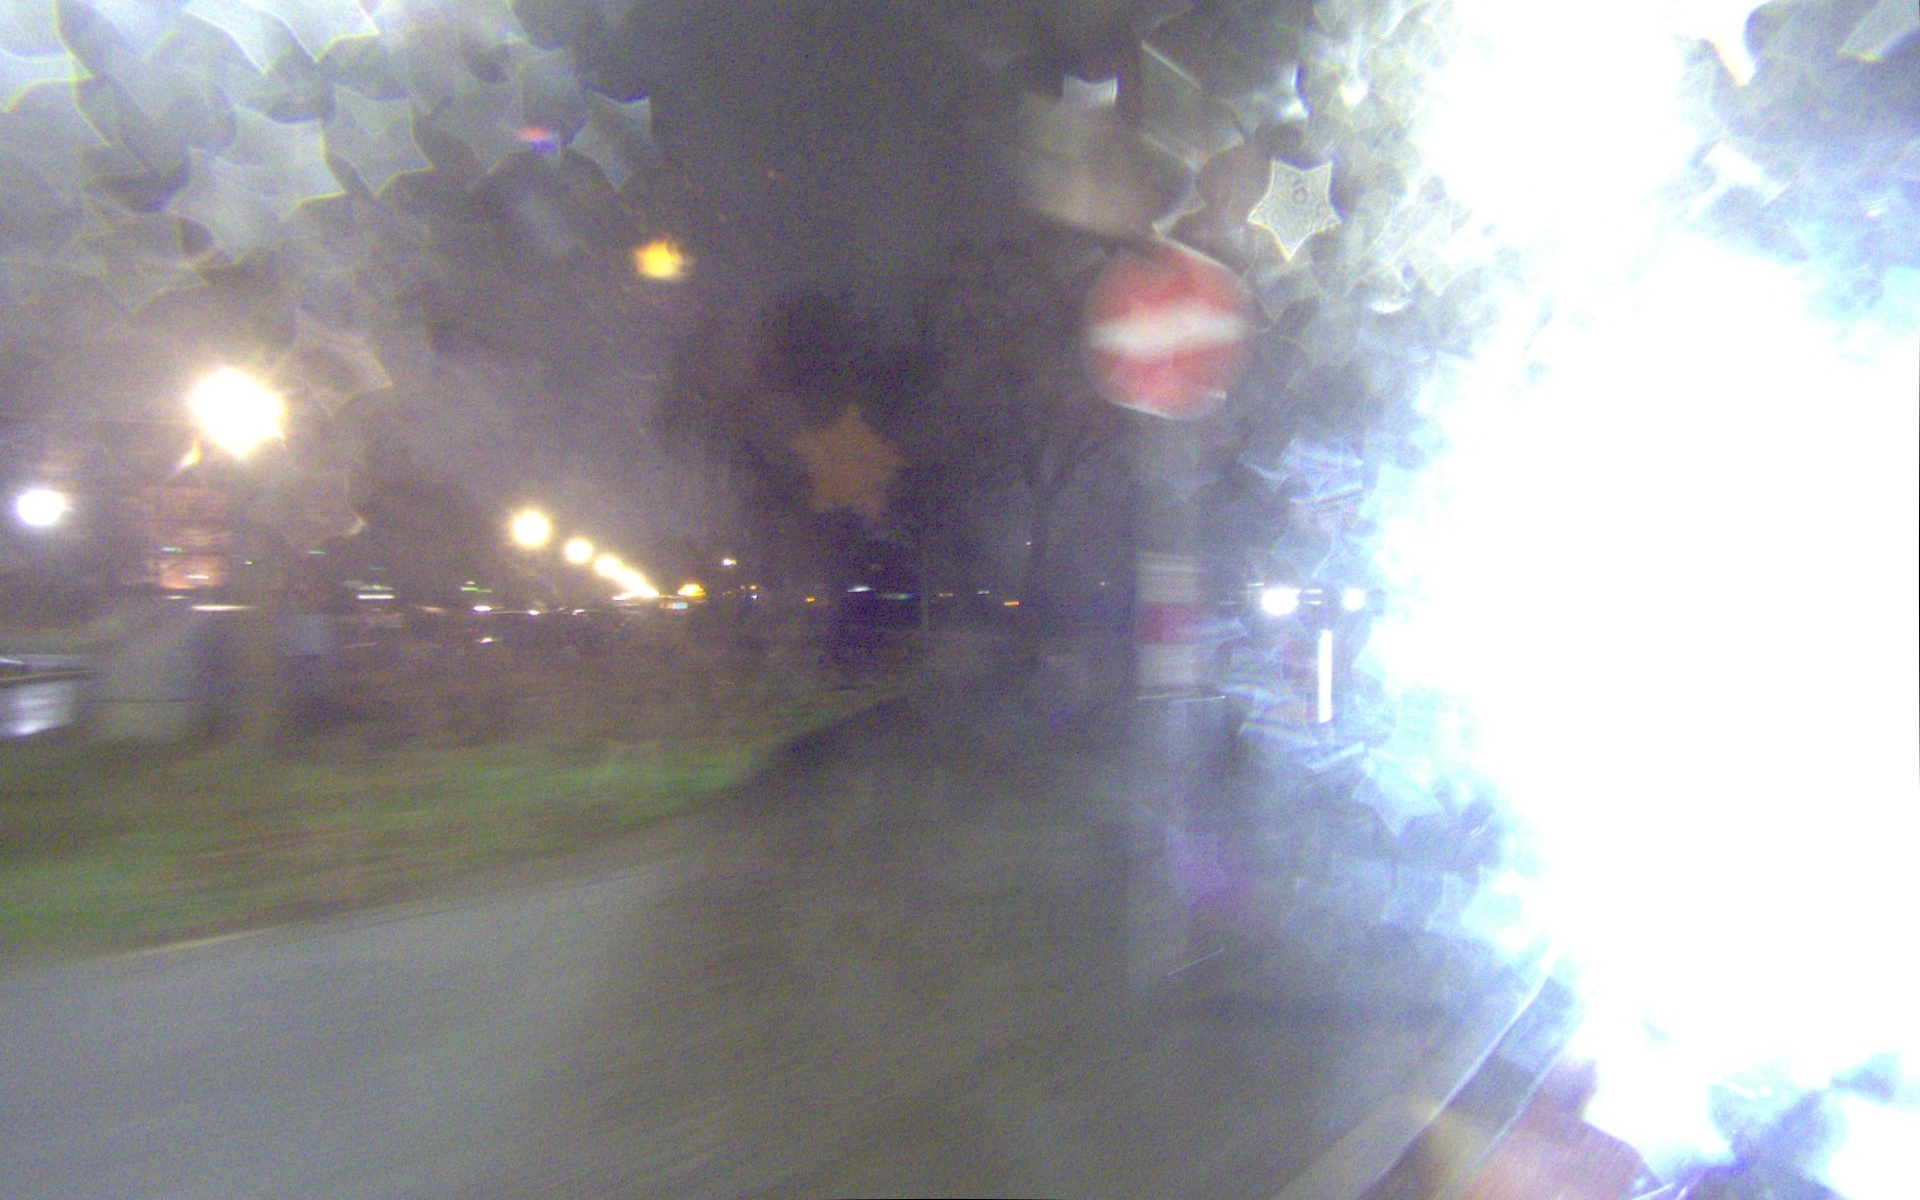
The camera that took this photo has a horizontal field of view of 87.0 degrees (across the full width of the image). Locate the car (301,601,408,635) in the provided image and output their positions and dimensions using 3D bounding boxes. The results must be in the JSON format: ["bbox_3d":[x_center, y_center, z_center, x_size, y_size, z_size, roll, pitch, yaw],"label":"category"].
[{"bbox_3d":[-29.543,0.853,49.479,4.097,1.517,2.004,0,0,-16],"label":"car"}]

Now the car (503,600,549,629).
[{"bbox_3d":[-26.641,0.894,62.206,1.958,1.695,4.007,0,0,-14],"label":"car"}]

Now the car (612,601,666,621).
[{"bbox_3d":[-25.236,0.825,79.626,3.916,1.505,2.004,0,0,-13],"label":"car"}]

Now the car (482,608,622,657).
[{"bbox_3d":[-13.688,1.066,34.183,4.098,1.540,2.004,0,0,-11],"label":"car"}]

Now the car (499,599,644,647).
[{"bbox_3d":[-14.156,0.821,37.145,4.714,1.657,2.003,0,-1,-11],"label":"car"}]

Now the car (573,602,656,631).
[{"bbox_3d":[-18.901,0.905,55.530,4.098,1.518,2.003,0,-1,-11],"label":"car"}]

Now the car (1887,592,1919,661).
[{"bbox_3d":[24.596,0.619,25.170,1.991,1.602,5.123,-1,-1,40],"label":"car"}]

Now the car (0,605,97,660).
[{"bbox_3d":[-36.184,1.245,39.167,3.920,2.039,2.002,-1,0,-29],"label":"car"}]

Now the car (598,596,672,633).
[{"bbox_3d":[-18.738,0.813,58.473,3.916,2.039,2.004,0,0,-13],"label":"car"}]

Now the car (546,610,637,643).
[{"bbox_3d":[-18.319,1.290,50.508,4.097,1.517,2.004,0,0,-16],"label":"car"}]

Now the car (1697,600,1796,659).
[{"bbox_3d":[22.027,0.761,28.255,1.991,1.485,5.025,-1,-1,40],"label":"car"}]

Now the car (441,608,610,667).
[{"bbox_3d":[-11.335,0.944,26.654,3.936,1.466,1.489,0,-1,-17],"label":"car"}]

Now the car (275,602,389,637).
[{"bbox_3d":[-29.057,0.874,46.938,4.097,1.517,2.004,0,0,-16],"label":"car"}]

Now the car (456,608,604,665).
[{"bbox_3d":[-12.346,1.015,29.263,3.799,1.588,1.493,0,-1,-16],"label":"car"}]

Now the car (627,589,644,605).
[{"bbox_3d":[-42.556,-0.357,132.822,1.958,2.039,4.007,0,-1,-15],"label":"car"}]

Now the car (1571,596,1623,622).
[{"bbox_3d":[52.564,0.726,83.475,3.920,2.039,2.002,-1,0,-29],"label":"car"}]

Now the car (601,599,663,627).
[{"bbox_3d":[-22.753,0.881,70.342,3.916,1.858,2.004,0,0,-13],"label":"car"}]
